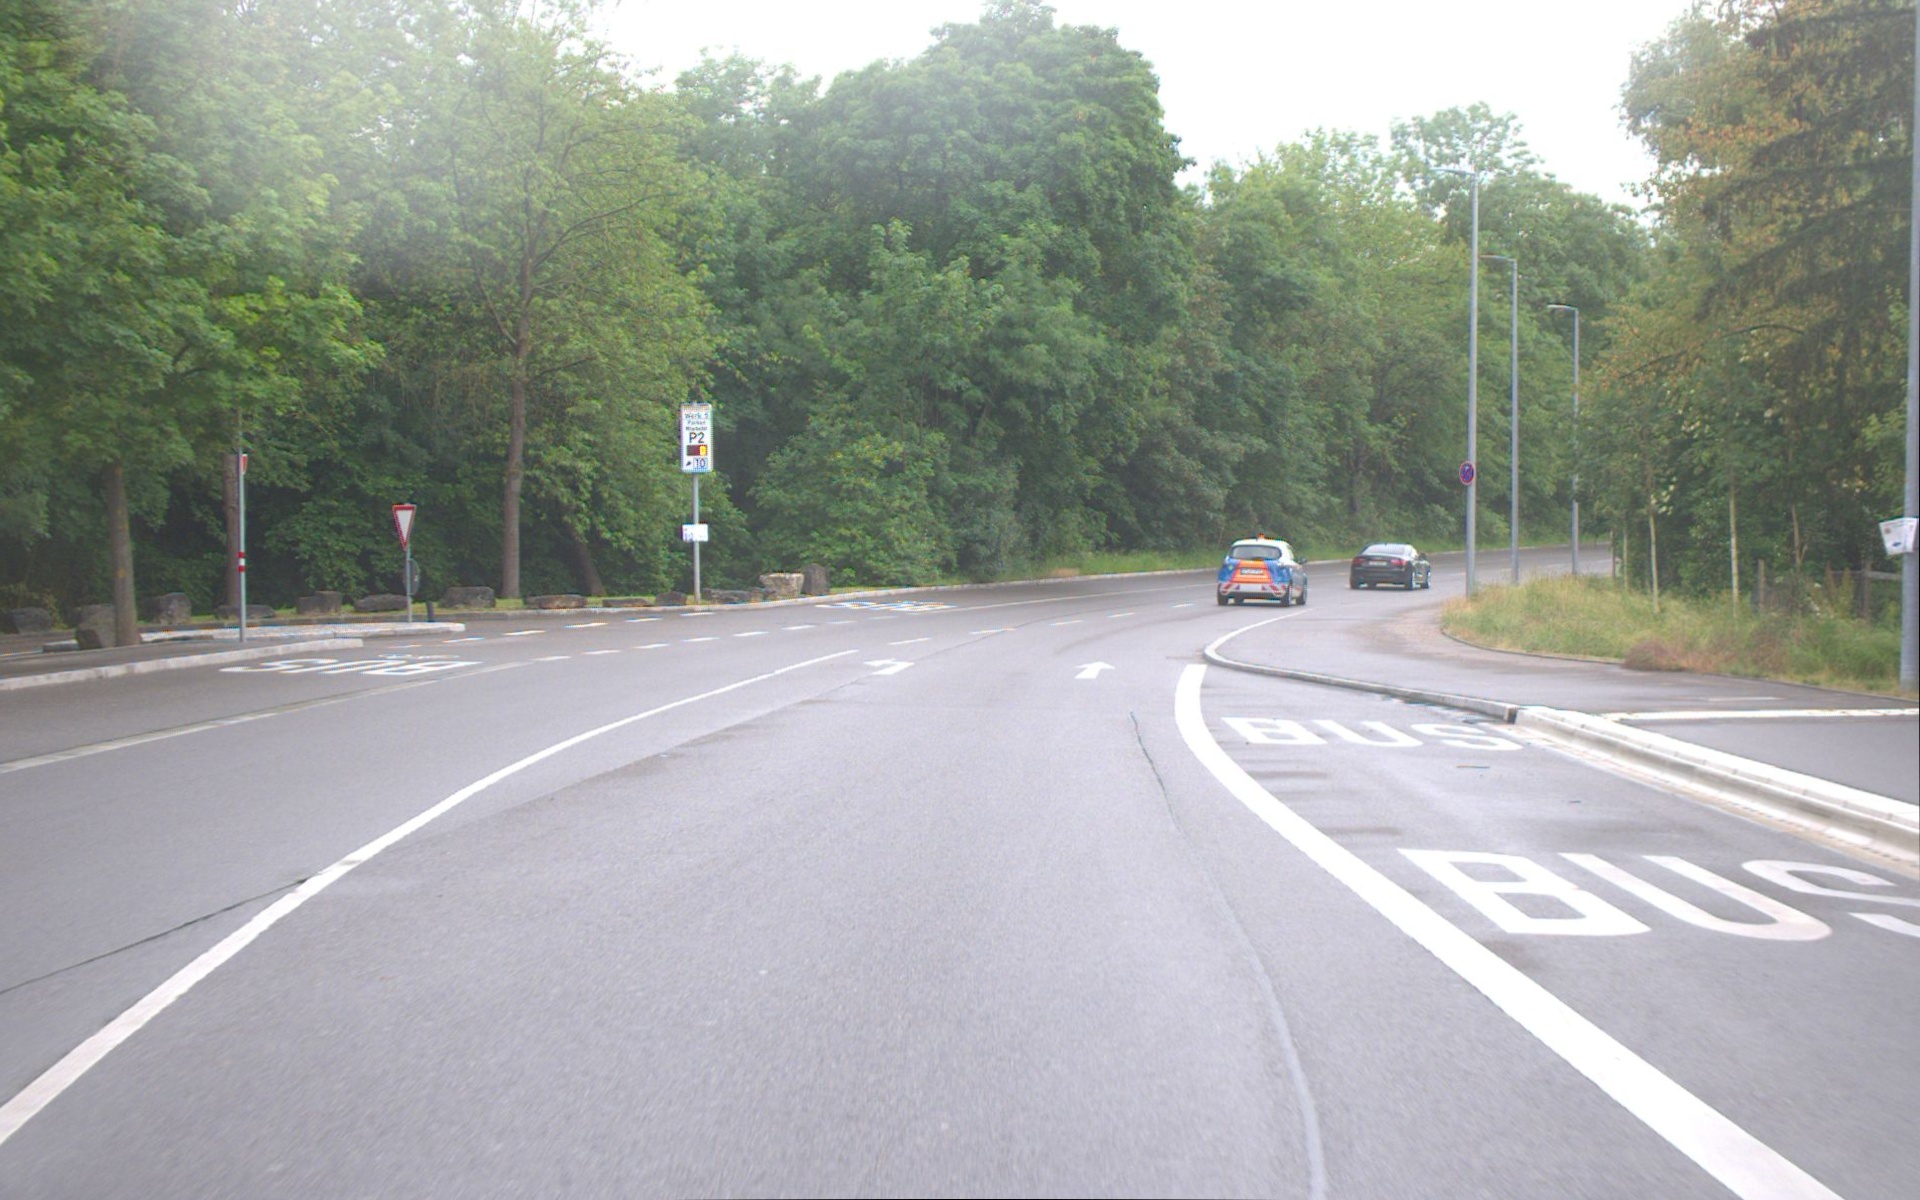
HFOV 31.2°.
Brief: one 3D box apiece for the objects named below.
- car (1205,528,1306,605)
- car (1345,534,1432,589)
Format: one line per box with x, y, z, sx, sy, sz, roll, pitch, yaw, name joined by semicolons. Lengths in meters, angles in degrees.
7.043;-0.817;81.558;1.994;1.683;3.999;-1;2;10;car
12.658;-1.159;101.469;1.928;1.481;3.797;0;2;17;car
